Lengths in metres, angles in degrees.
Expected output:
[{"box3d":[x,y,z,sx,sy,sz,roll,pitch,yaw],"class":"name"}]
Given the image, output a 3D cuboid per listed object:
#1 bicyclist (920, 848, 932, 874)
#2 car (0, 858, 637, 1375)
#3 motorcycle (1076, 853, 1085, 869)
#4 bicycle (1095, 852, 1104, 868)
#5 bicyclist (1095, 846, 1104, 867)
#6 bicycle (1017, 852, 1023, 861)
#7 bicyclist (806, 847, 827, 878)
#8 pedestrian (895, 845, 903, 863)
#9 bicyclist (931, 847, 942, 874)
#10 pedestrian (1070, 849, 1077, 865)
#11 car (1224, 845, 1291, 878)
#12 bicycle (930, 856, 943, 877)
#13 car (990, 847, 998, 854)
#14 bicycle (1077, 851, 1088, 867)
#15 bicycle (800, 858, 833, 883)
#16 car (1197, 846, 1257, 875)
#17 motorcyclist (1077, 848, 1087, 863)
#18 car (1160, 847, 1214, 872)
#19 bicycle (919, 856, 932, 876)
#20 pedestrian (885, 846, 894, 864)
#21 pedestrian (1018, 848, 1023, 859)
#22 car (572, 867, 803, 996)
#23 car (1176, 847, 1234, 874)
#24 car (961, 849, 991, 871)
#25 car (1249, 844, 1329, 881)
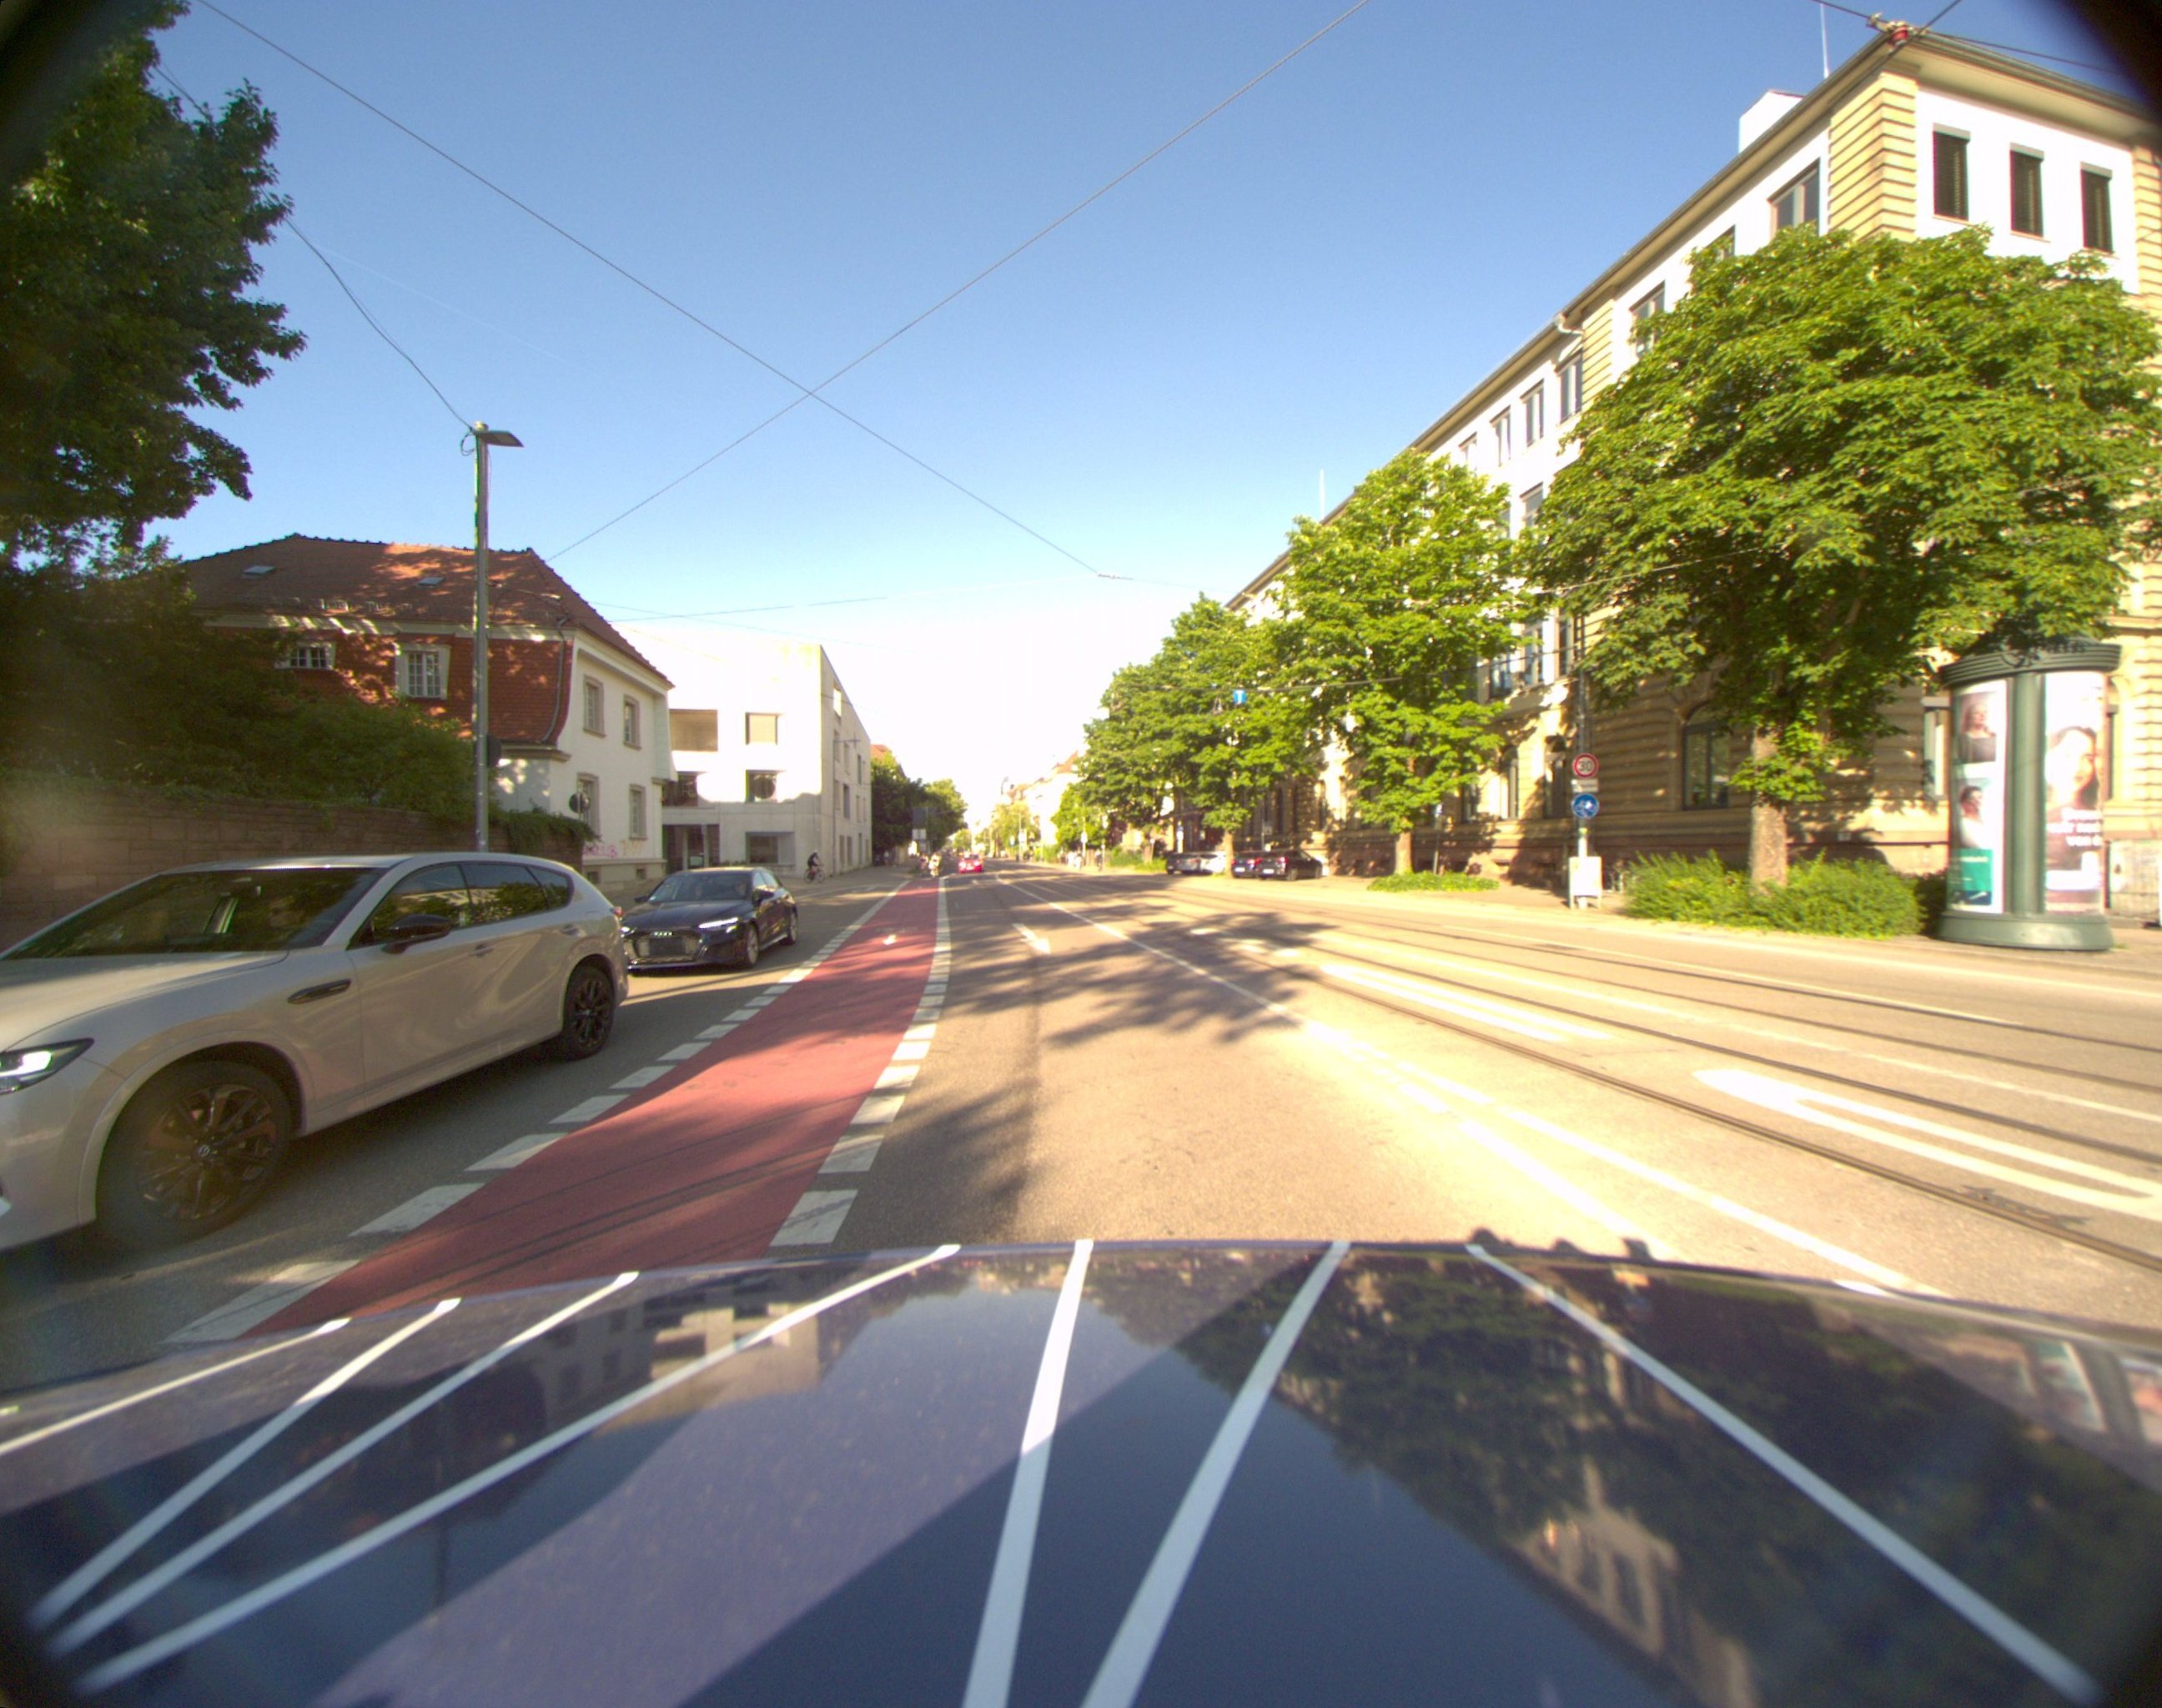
[{"box3d":[-9.951,0.416,48.737,0.676,1.638,1.028,0,1,-8],"class":"bicyclist"},{"box3d":[-4.804,0.935,4.474,1.946,1.682,4.529,-2,1,-5],"class":"car"},{"box3d":[-0.013,0.549,61.444,0.680,1.285,2.265,-2,1,1],"class":"motorcycle"},{"box3d":[1.432,0.466,59.048,0.676,1.243,2.456,0,1,1],"class":"bicycle"},{"box3d":[1.440,0.179,59.154,0.675,1.638,1.029,0,1,1],"class":"bicyclist"},{"box3d":[-9.219,0.400,115.736,0.676,1.243,2.456,-1,1,1],"class":"bicycle"},{"box3d":[-13.818,0.433,39.752,0.675,1.638,1.029,0,1,5],"class":"bicyclist"},{"box3d":[-17.083,0.027,71.326,0.676,1.638,0.817,-1,1,-9],"class":"pedestrian"},{"box3d":[-9.002,0.409,47.365,0.676,1.638,1.028,0,1,-8],"class":"bicyclist"},{"box3d":[-0.786,0.279,78.571,0.676,1.638,0.817,-1,1,-9],"class":"pedestrian"},{"box3d":[9.421,0.384,40.414,3.657,1.552,1.645,-3,1,-43],"class":"car"},{"box3d":[-9.006,0.757,47.397,0.676,1.243,2.454,0,1,-8],"class":"bicycle"},{"box3d":[-23.191,-0.940,201.604,1.650,1.552,3.646,-2,1,-12],"class":"car"},{"box3d":[0.077,0.410,61.291,0.676,1.243,2.455,0,1,-5],"class":"bicycle"},{"box3d":[-13.821,0.843,39.762,0.675,1.243,2.457,0,1,5],"class":"bicycle"},{"box3d":[8.892,0.382,46.130,3.657,1.552,1.645,-3,1,-43],"class":"car"},{"box3d":[0.079,0.119,61.261,0.676,1.243,0.853,0,1,-5],"class":"motorcyclist"},{"box3d":[7.238,0.354,51.771,3.657,1.552,1.645,-3,1,-43],"class":"car"},{"box3d":[-9.950,0.769,48.743,0.676,1.243,2.454,0,1,-8],"class":"bicycle"},{"box3d":[-17.943,0.058,71.130,0.676,1.638,0.817,-1,1,-9],"class":"pedestrian"},{"box3d":[-9.230,-0.037,115.727,0.675,1.638,0.817,-1,1,0],"class":"pedestrian"},{"box3d":[-5.619,0.995,11.481,1.789,1.425,3.997,-2,1,-8],"class":"car"},{"box3d":[7.913,0.383,48.361,3.657,1.552,1.645,-3,1,-43],"class":"car"},{"box3d":[-7.765,0.425,56.590,1.649,1.552,3.650,-2,1,1],"class":"car"},{"box3d":[10.385,0.401,37.754,4.189,1.621,1.841,-3,1,-43],"class":"car"}]
